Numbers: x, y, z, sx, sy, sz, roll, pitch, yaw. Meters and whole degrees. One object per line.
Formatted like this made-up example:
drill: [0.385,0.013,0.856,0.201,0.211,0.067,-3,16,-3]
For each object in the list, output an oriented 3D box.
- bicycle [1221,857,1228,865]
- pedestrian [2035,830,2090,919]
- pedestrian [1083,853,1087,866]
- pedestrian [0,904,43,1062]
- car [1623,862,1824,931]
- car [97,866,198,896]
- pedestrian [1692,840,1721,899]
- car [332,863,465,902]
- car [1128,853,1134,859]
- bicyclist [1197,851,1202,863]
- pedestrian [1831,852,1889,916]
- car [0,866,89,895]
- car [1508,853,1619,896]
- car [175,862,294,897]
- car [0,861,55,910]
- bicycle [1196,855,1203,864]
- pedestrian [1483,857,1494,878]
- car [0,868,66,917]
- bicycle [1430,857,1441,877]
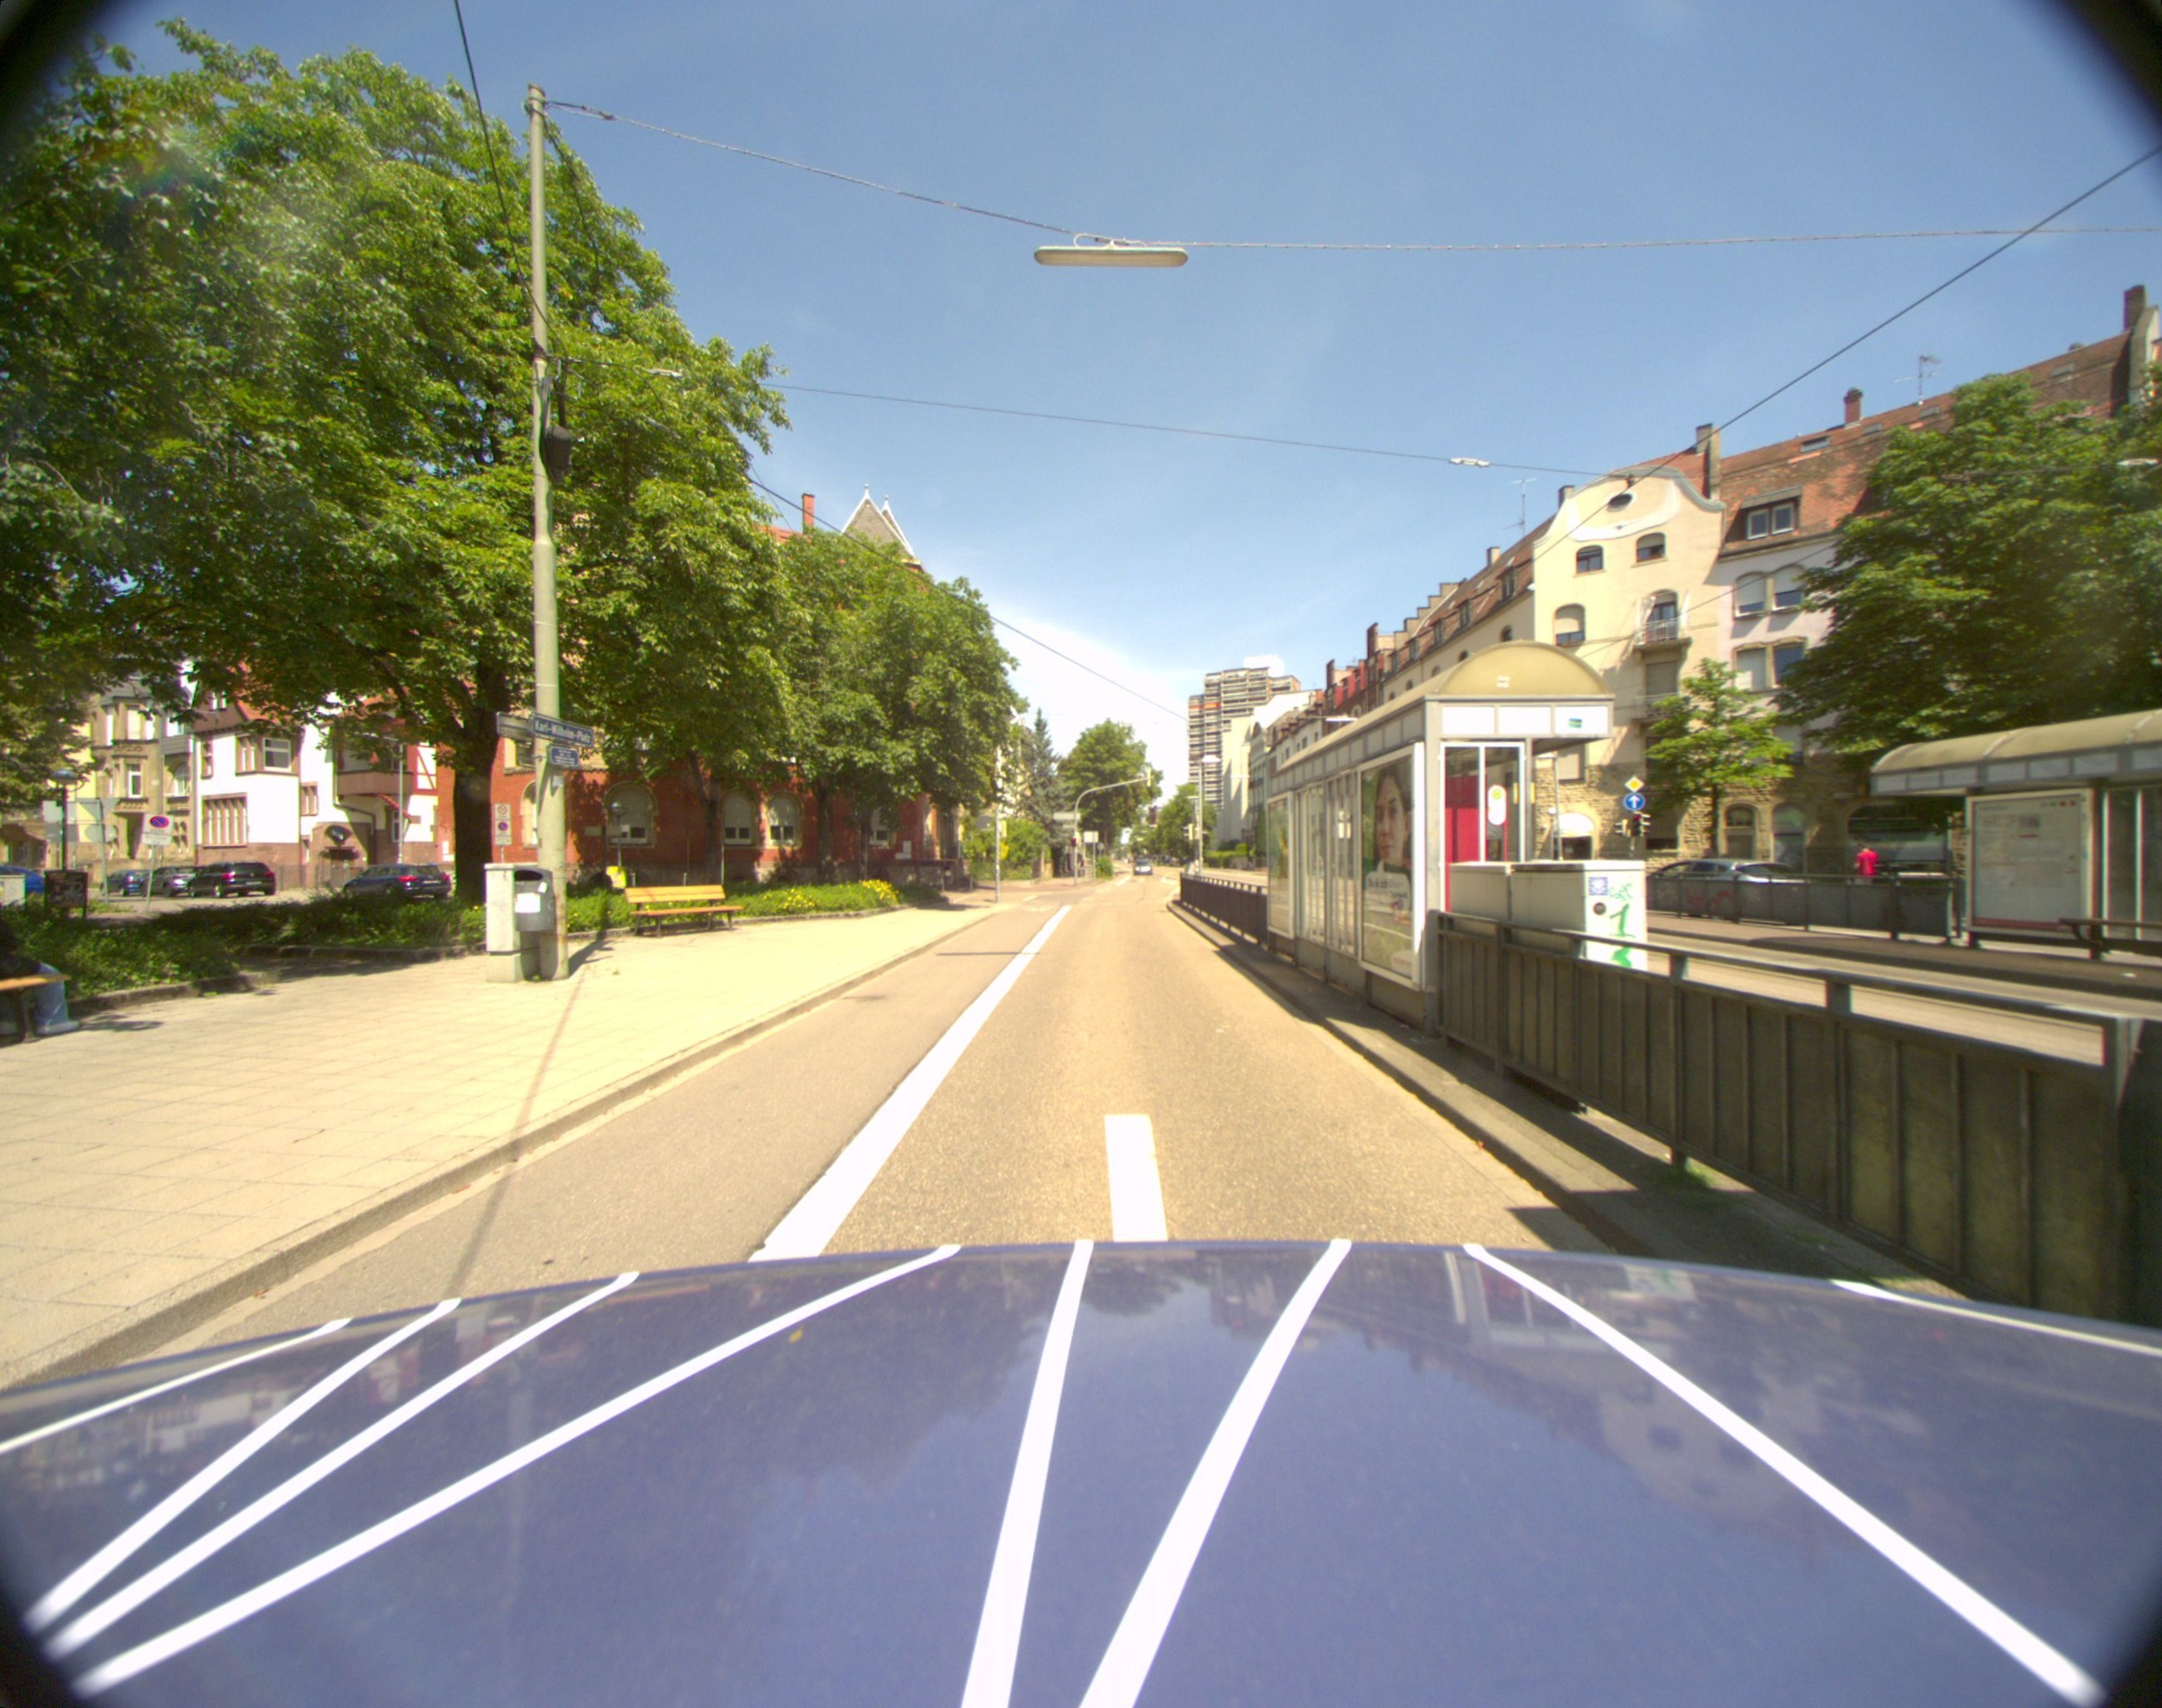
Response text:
bicycle: [19.192,0.889,101.731,0.493,1.090,2.047,-1,0,1]
pedestrian: [20.902,0.426,16.192,0.511,1.868,0.494,-1,1,6]
pedestrian: [0.519,0.768,100.813,0.547,1.683,0.755,0,1,1]
pedestrian: [-7.801,0.906,5.282,0.510,1.085,0.478,1,0,7]
car: [14.707,0.911,17.687,1.544,1.331,3.718,-1,1,0]
car: [-48.815,1.391,39.728,4.605,1.456,1.908,-1,1,21]
pedestrian: [19.532,0.474,23.742,0.511,1.812,0.494,-1,1,3]
car: [-27.216,1.114,30.301,4.748,1.433,1.908,-1,1,21]
car: [16.612,0.683,251.837,1.998,2.002,4.000,-1,1,1]
bicyclist: [15.783,0.435,101.382,0.609,1.565,0.585,-1,1,1]
pedestrian: [19.951,0.759,19.476,0.681,1.596,0.773,-1,1,-2]
car: [-59.601,1.522,43.661,4.391,1.547,1.908,-1,1,21]
car: [18.875,0.790,29.813,3.578,1.566,1.586,-1,1,33]
car: [-39.979,1.206,35.880,5.477,1.523,1.991,-1,1,22]
car: [-37.290,1.061,24.754,1.723,1.642,4.273,-1,-1,20]
bicycle: [15.811,0.774,101.508,0.629,1.150,1.978,-1,0,1]
pedestrian: [22.962,0.768,42.800,0.406,1.142,0.405,-1,1,-2]
car: [-32.867,1.134,21.951,1.723,1.421,3.895,-1,-1,20]
bicycle: [22.805,0.844,48.876,0.454,1.218,2.083,-1,1,21]
